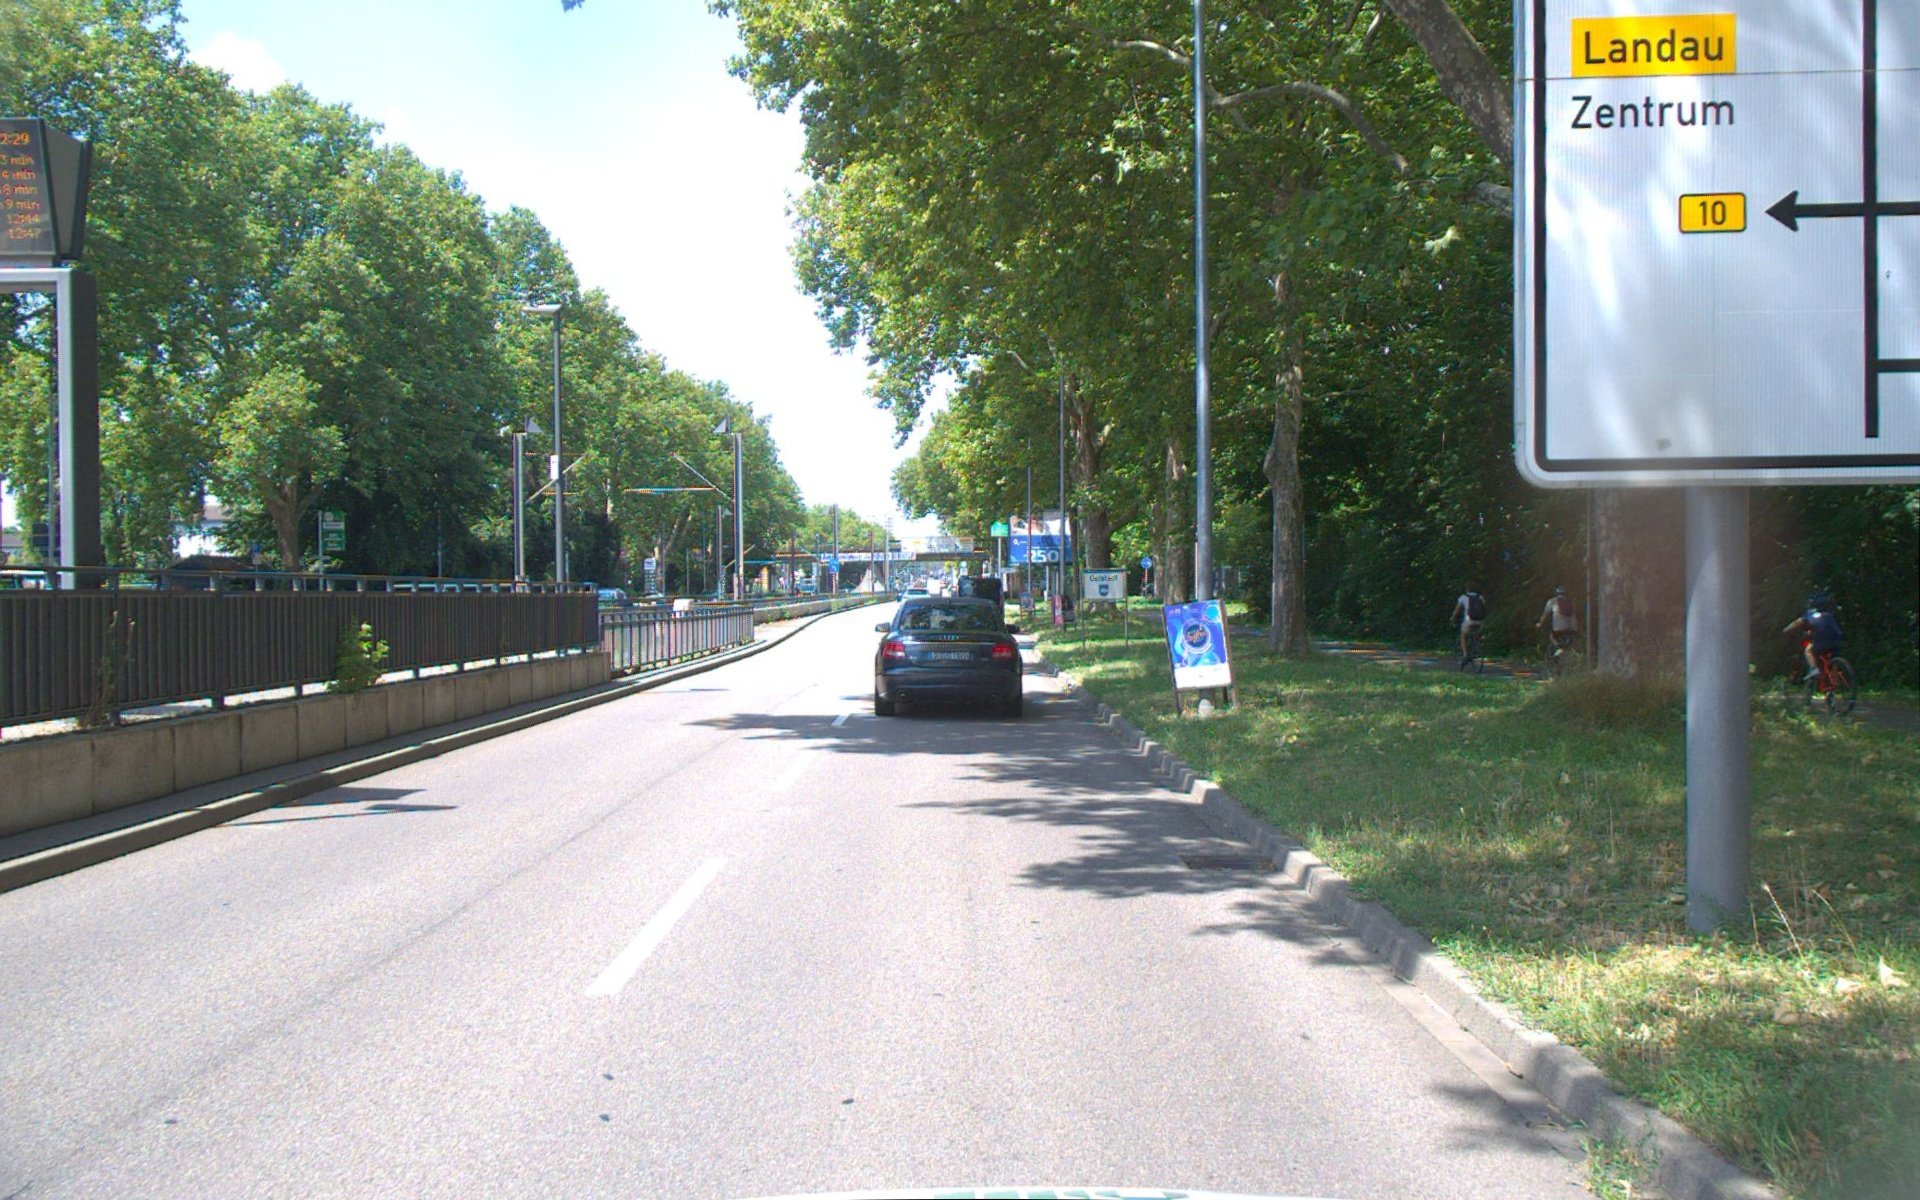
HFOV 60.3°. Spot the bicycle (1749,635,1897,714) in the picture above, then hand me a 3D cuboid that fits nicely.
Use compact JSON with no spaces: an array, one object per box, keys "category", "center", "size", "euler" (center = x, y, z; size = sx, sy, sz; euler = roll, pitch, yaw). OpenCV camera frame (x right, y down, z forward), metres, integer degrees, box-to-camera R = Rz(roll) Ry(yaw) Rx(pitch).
[{"category":"bicycle","center":[11.182,0.944,21.513],"size":[0.633,0.902,2.019],"euler":[0,0,-9]}]

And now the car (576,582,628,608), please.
[{"category":"car","center":[-17.750,-0.251,82.135],"size":[1.611,1.287,3.838],"euler":[0,0,2]}]

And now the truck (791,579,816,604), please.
[{"category":"truck","center":[-19.562,-1.073,207.276],"size":[2.931,3.073,7.993],"euler":[0,0,-4]}]

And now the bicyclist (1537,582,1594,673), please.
[{"category":"bicyclist","center":[10.971,0.488,29.982],"size":[0.645,1.627,1.053],"euler":[0,0,0]}]

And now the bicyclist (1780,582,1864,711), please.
[{"category":"bicyclist","center":[11.192,0.592,21.496],"size":[0.611,1.638,0.815],"euler":[0,1,-8]}]

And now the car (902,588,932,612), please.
[{"category":"car","center":[-2.754,0.003,105.236],"size":[1.808,1.489,3.998],"euler":[0,0,-2]}]

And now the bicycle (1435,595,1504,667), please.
[{"category":"bicycle","center":[10.817,0.637,35.202],"size":[0.598,1.444,2.661],"euler":[-1,0,-1]}]

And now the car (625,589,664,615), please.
[{"category":"car","center":[-21.772,0.111,114.271],"size":[1.707,1.713,4.385],"euler":[-1,0,2]}]

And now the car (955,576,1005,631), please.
[{"category":"car","center":[0.791,0.114,62.447],"size":[1.810,1.993,4.145],"euler":[1,0,2]}]

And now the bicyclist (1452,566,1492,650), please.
[{"category":"bicyclist","center":[10.847,0.162,35.058],"size":[0.585,1.776,0.843],"euler":[0,0,-1]}]

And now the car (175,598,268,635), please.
[{"category":"car","center":[-30.890,0.680,69.226],"size":[3.258,1.501,1.650],"euler":[0,0,-12]}]

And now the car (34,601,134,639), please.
[{"category":"car","center":[-35.873,0.791,67.798],"size":[3.258,1.501,1.650],"euler":[0,0,-12]}]

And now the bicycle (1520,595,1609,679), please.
[{"category":"bicycle","center":[10.955,0.638,30.060],"size":[0.598,1.444,2.661],"euler":[-1,0,-1]}]

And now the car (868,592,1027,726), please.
[{"category":"car","center":[-0.162,0.662,20.881],"size":[1.805,1.510,4.000],"euler":[-1,0,-1]}]
